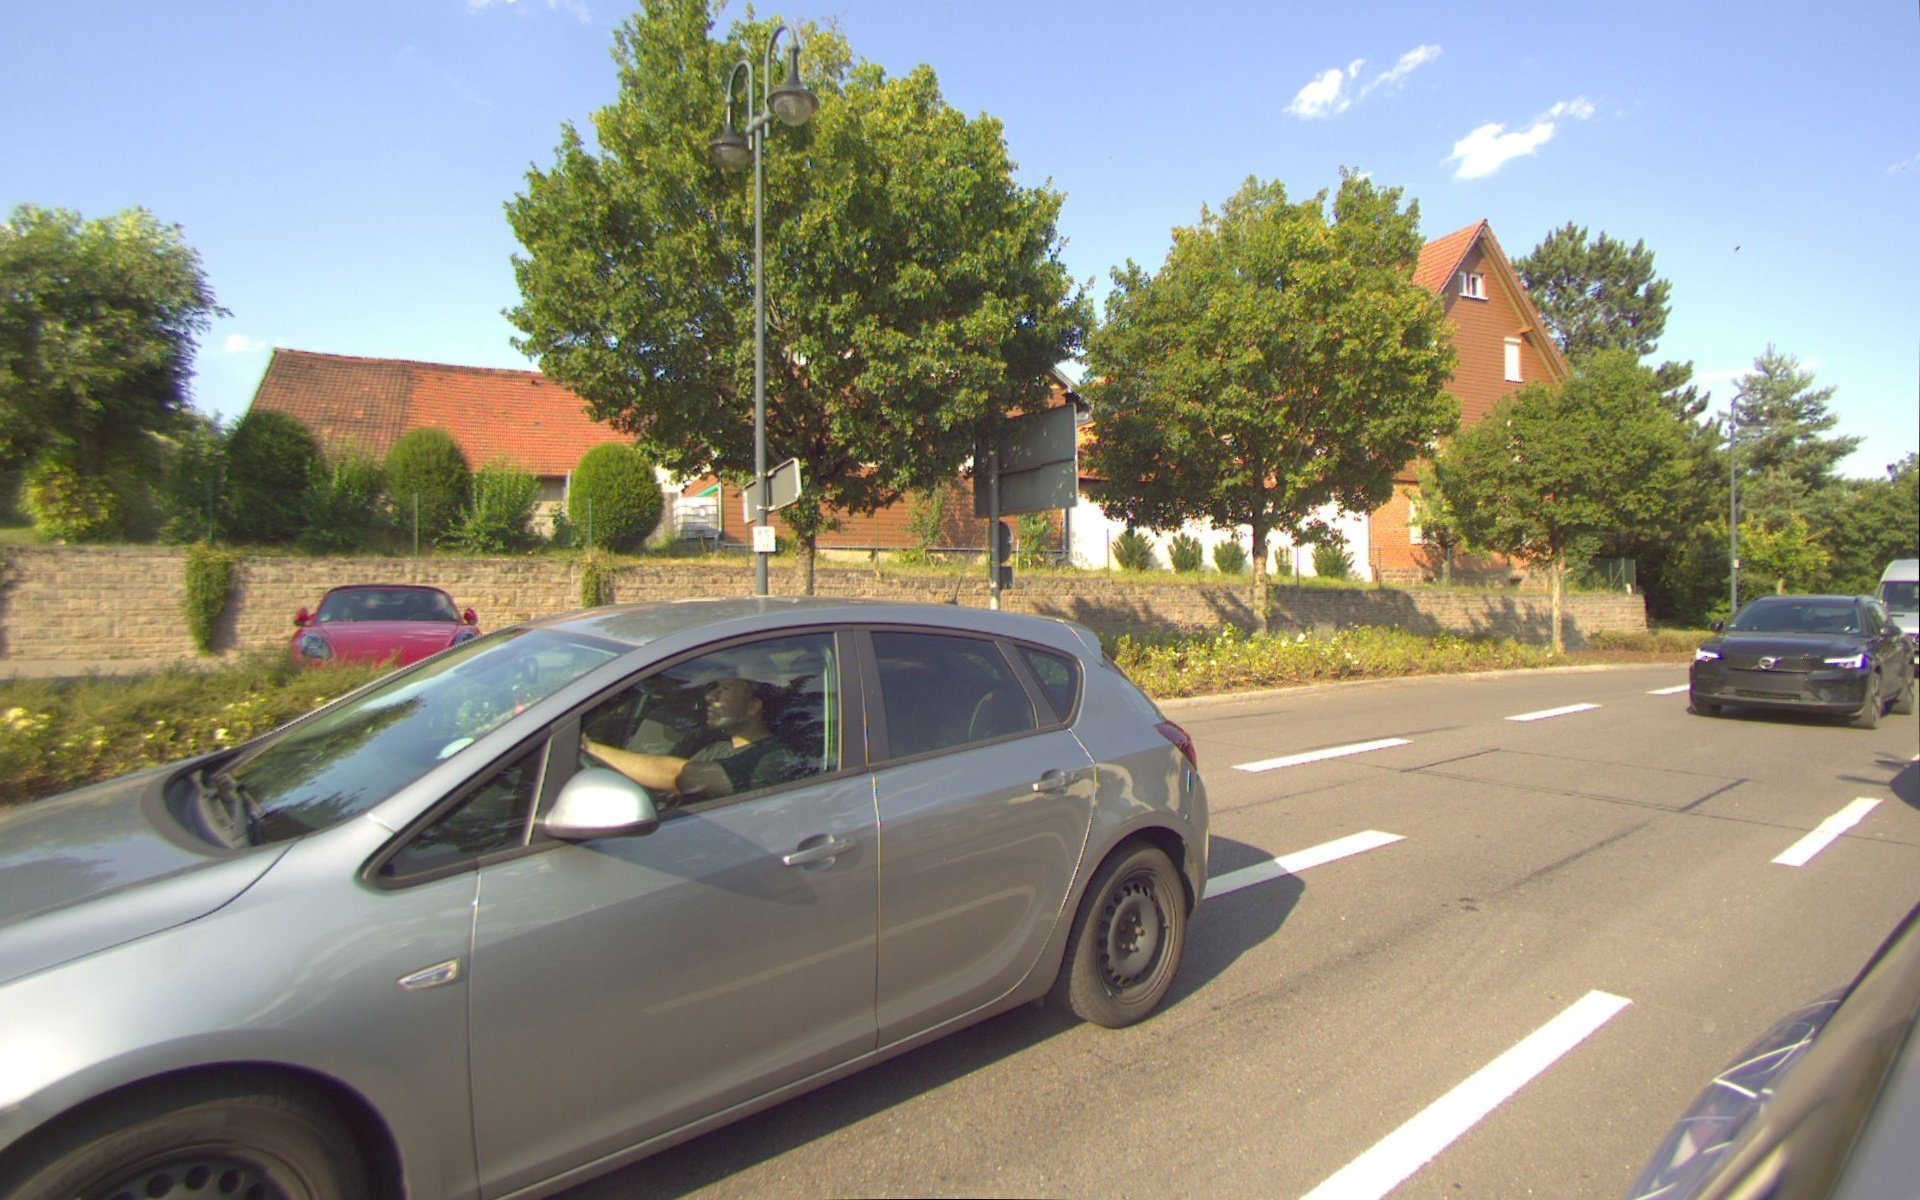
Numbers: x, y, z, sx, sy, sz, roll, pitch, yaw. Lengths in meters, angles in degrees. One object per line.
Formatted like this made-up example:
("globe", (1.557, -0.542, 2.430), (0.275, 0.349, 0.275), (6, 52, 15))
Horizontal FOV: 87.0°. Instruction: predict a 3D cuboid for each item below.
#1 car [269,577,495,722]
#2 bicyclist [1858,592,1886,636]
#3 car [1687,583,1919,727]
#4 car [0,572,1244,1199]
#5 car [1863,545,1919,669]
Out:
("car", (-6.236, 0.430, 11.159), (1.816, 1.288, 4.005), (0, 0, -28))
("bicyclist", (36.066, 0.546, 40.017), (0.719, 1.699, 0.605), (0, 0, -28))
("car", (11.424, 0.615, 13.493), (4.054, 1.629, 1.885), (0, 0, -40))
("car", (-1.035, 0.678, 3.095), (4.095, 1.460, 1.746), (0, 0, -42))
("car", (22.382, 0.143, 22.672), (6.082, 2.579, 2.369), (0, 0, -40))
